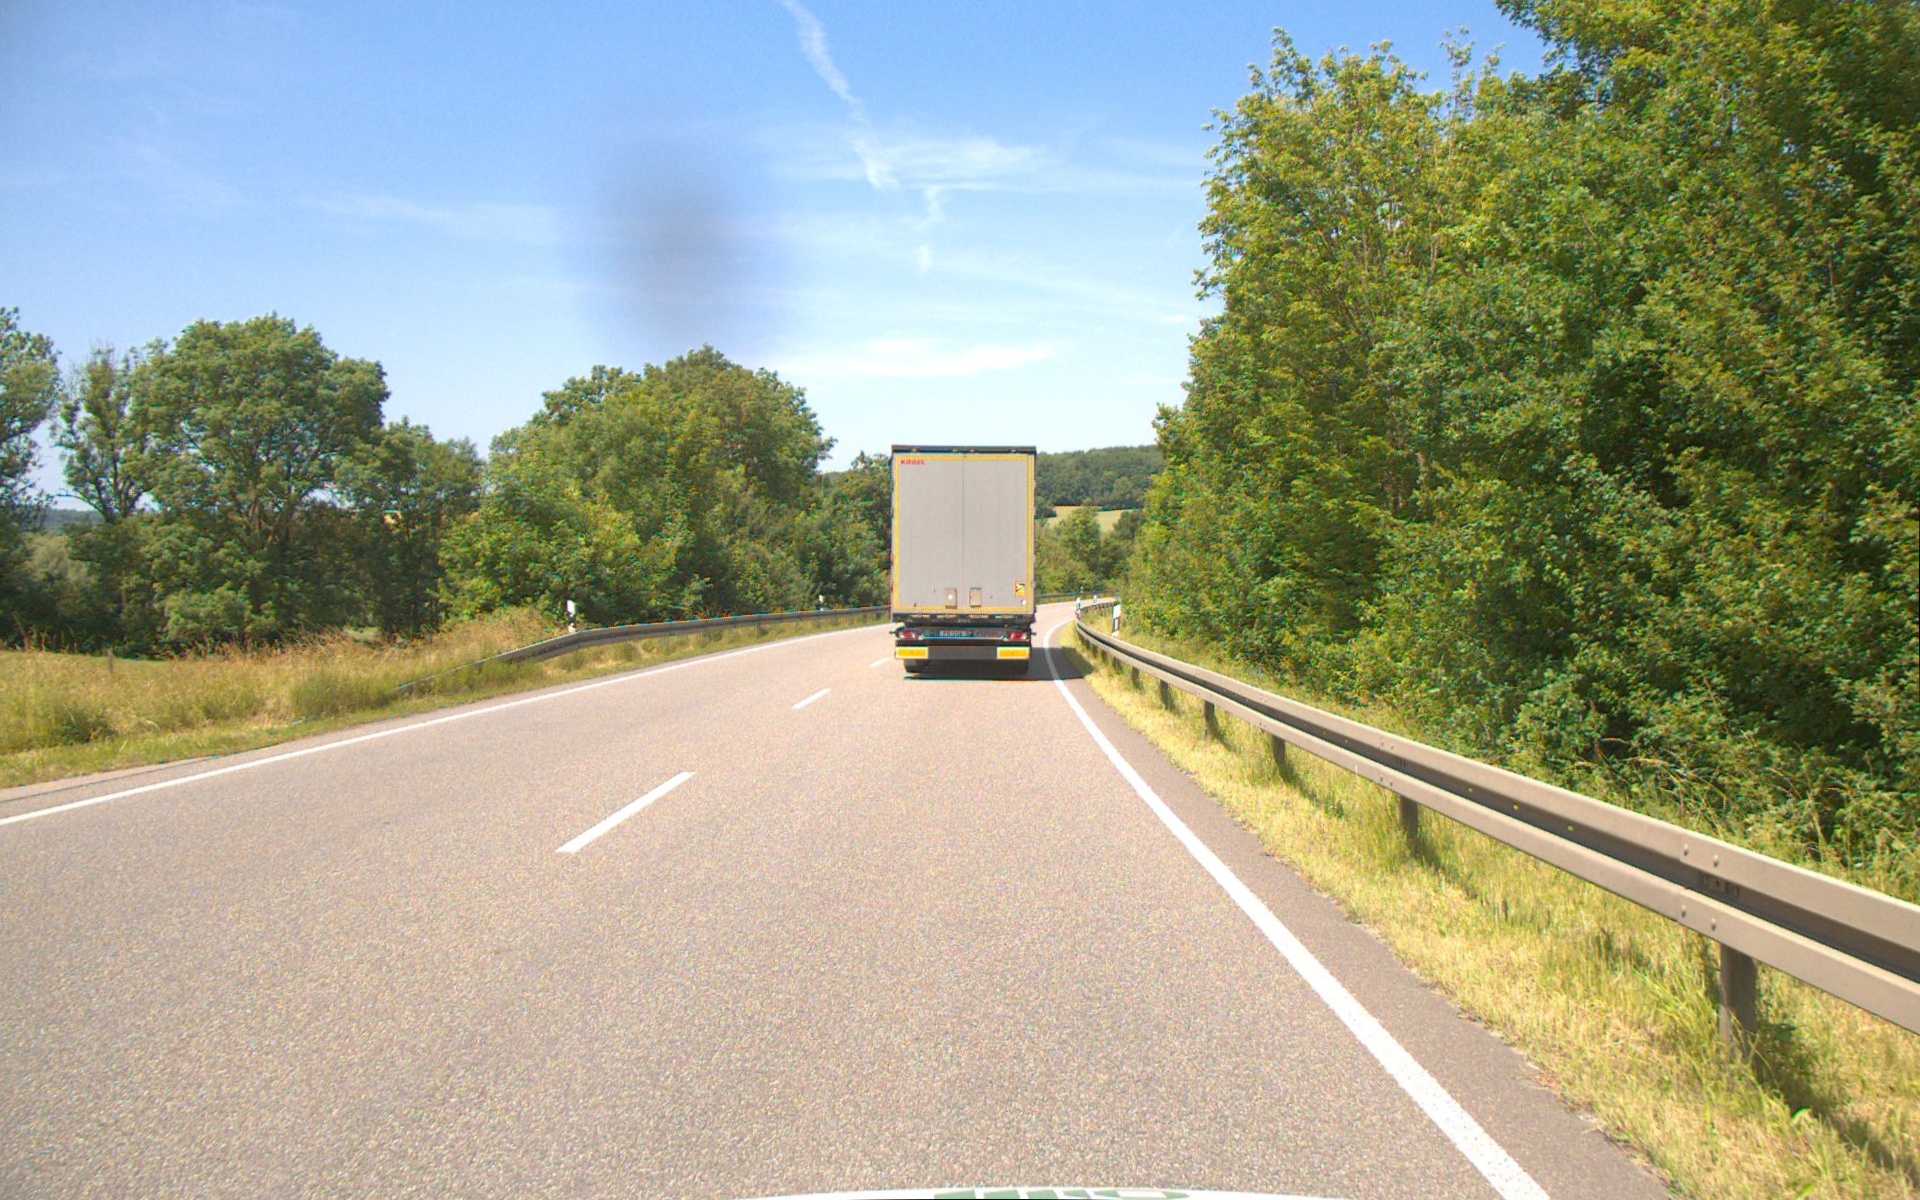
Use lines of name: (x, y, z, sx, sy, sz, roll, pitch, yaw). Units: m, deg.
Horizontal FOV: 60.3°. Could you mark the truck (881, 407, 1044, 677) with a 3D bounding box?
truck: (0.136, -1.023, 34.267, 2.759, 4.612, 11.769, 1, 0, 1)
